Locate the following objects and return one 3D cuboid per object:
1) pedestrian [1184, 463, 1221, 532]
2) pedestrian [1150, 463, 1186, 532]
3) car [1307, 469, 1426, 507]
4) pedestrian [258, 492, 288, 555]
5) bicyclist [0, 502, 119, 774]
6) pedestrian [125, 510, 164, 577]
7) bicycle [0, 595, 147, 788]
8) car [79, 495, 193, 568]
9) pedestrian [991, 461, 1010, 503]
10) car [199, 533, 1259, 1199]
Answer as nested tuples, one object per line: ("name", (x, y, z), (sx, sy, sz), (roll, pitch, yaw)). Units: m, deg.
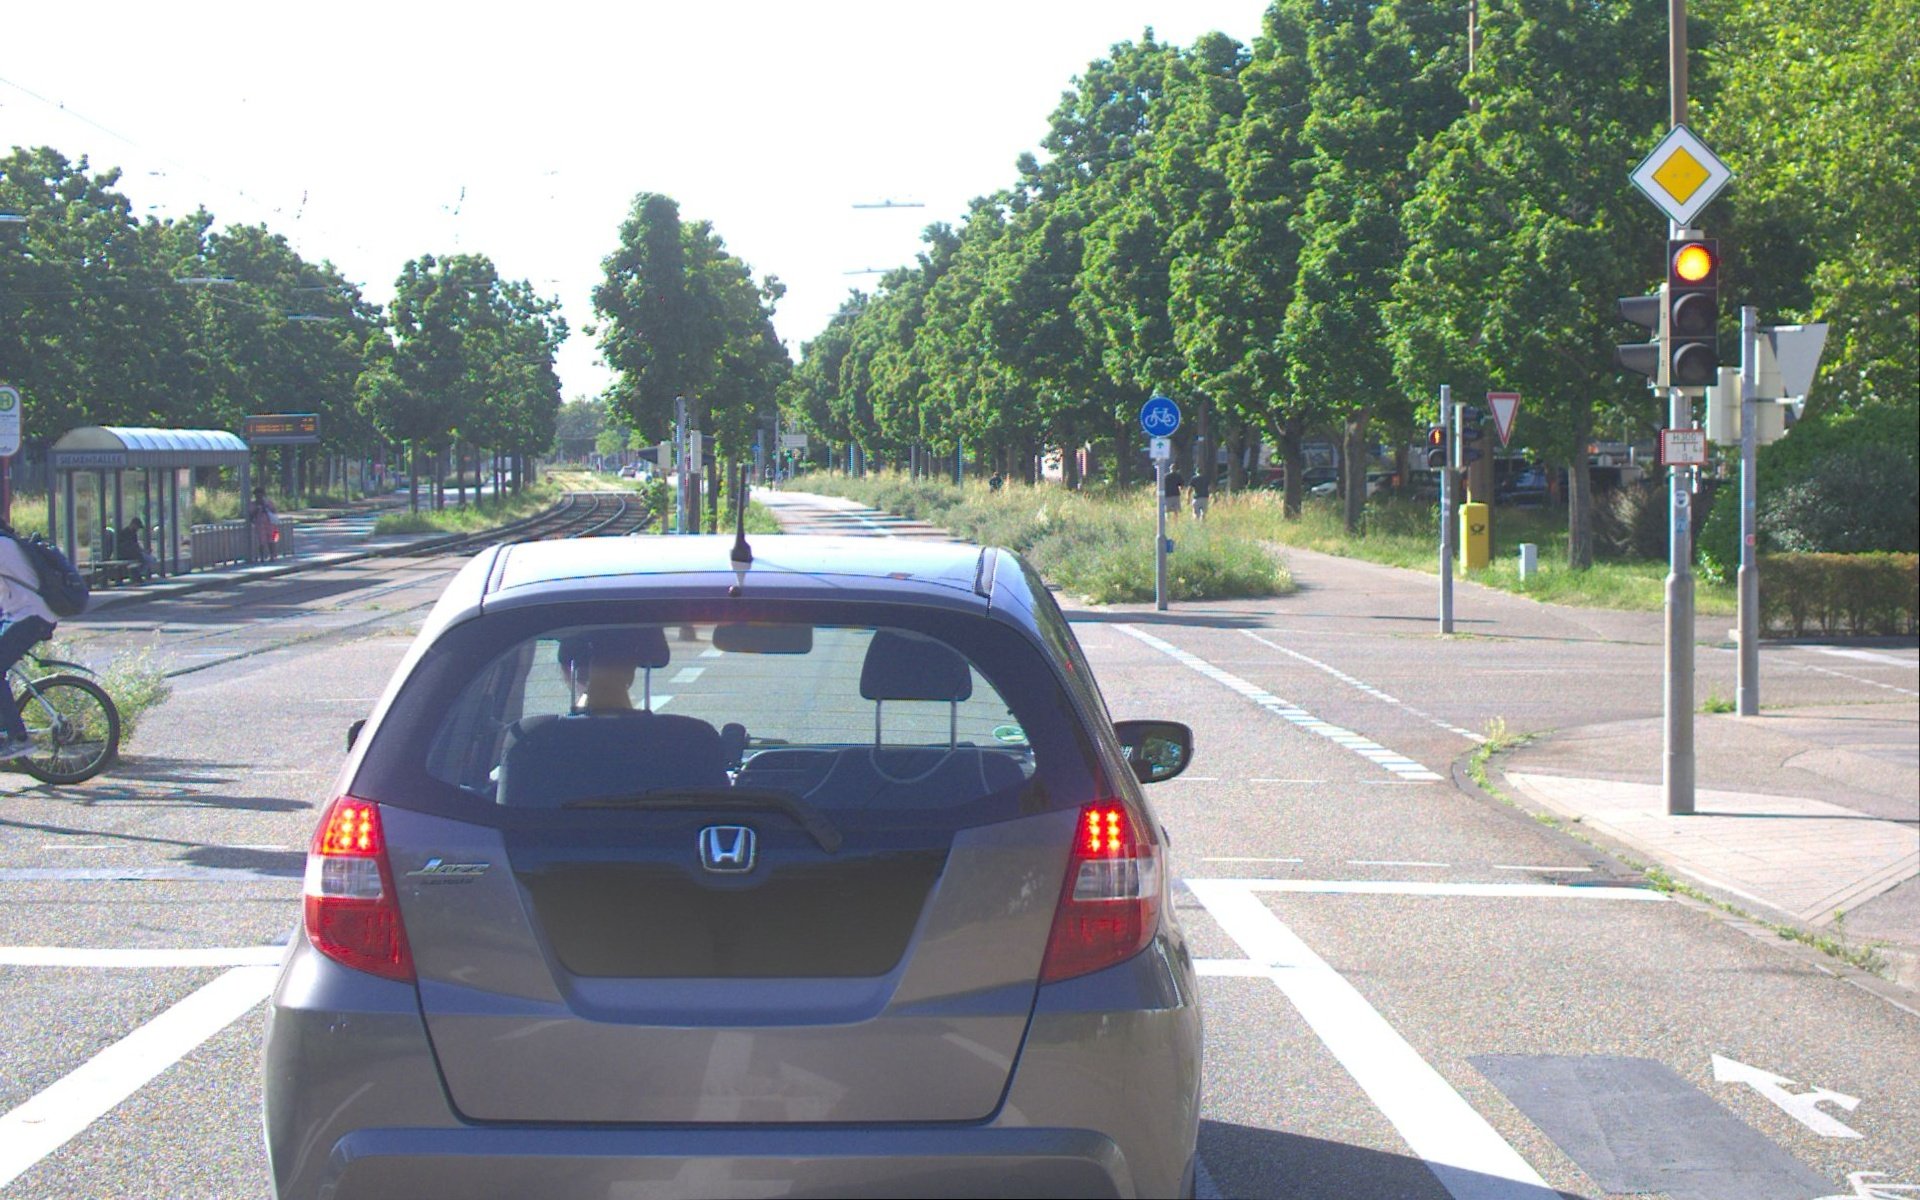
("pedestrian", (6.637, -2.802, 94.119), (0.882, 1.877, 0.875), (-1, 2, -4))
("pedestrian", (5.696, -2.818, 94.189), (0.882, 1.877, 0.875), (-1, 2, -4))
("car", (17.089, -4.710, 144.532), (4.630, 1.550, 2.001), (-1, 2, -6))
("pedestrian", (-15.999, -1.778, 80.086), (0.544, 1.442, 0.559), (-1, 1, -1))
("bicyclist", (-5.778, 0.207, 20.648), (1.232, 1.588, 0.805), (2, 1, -2))
("pedestrian", (-15.546, -1.084, 65.533), (0.563, 1.252, 0.581), (-3, 1, -1))
("bicycle", (-5.865, 0.530, 20.664), (1.775, 1.098, 0.699), (2, 1, -1))
("car", (-22.568, -1.900, 94.307), (2.093, 1.803, 4.794), (-2, 3, -3))
("pedestrian", (1.677, -4.839, 141.023), (0.725, 1.685, 0.821), (0, 0, -3))
("car", (-0.395, 0.627, 7.399), (1.701, 1.518, 3.710), (0, 1, -1))
